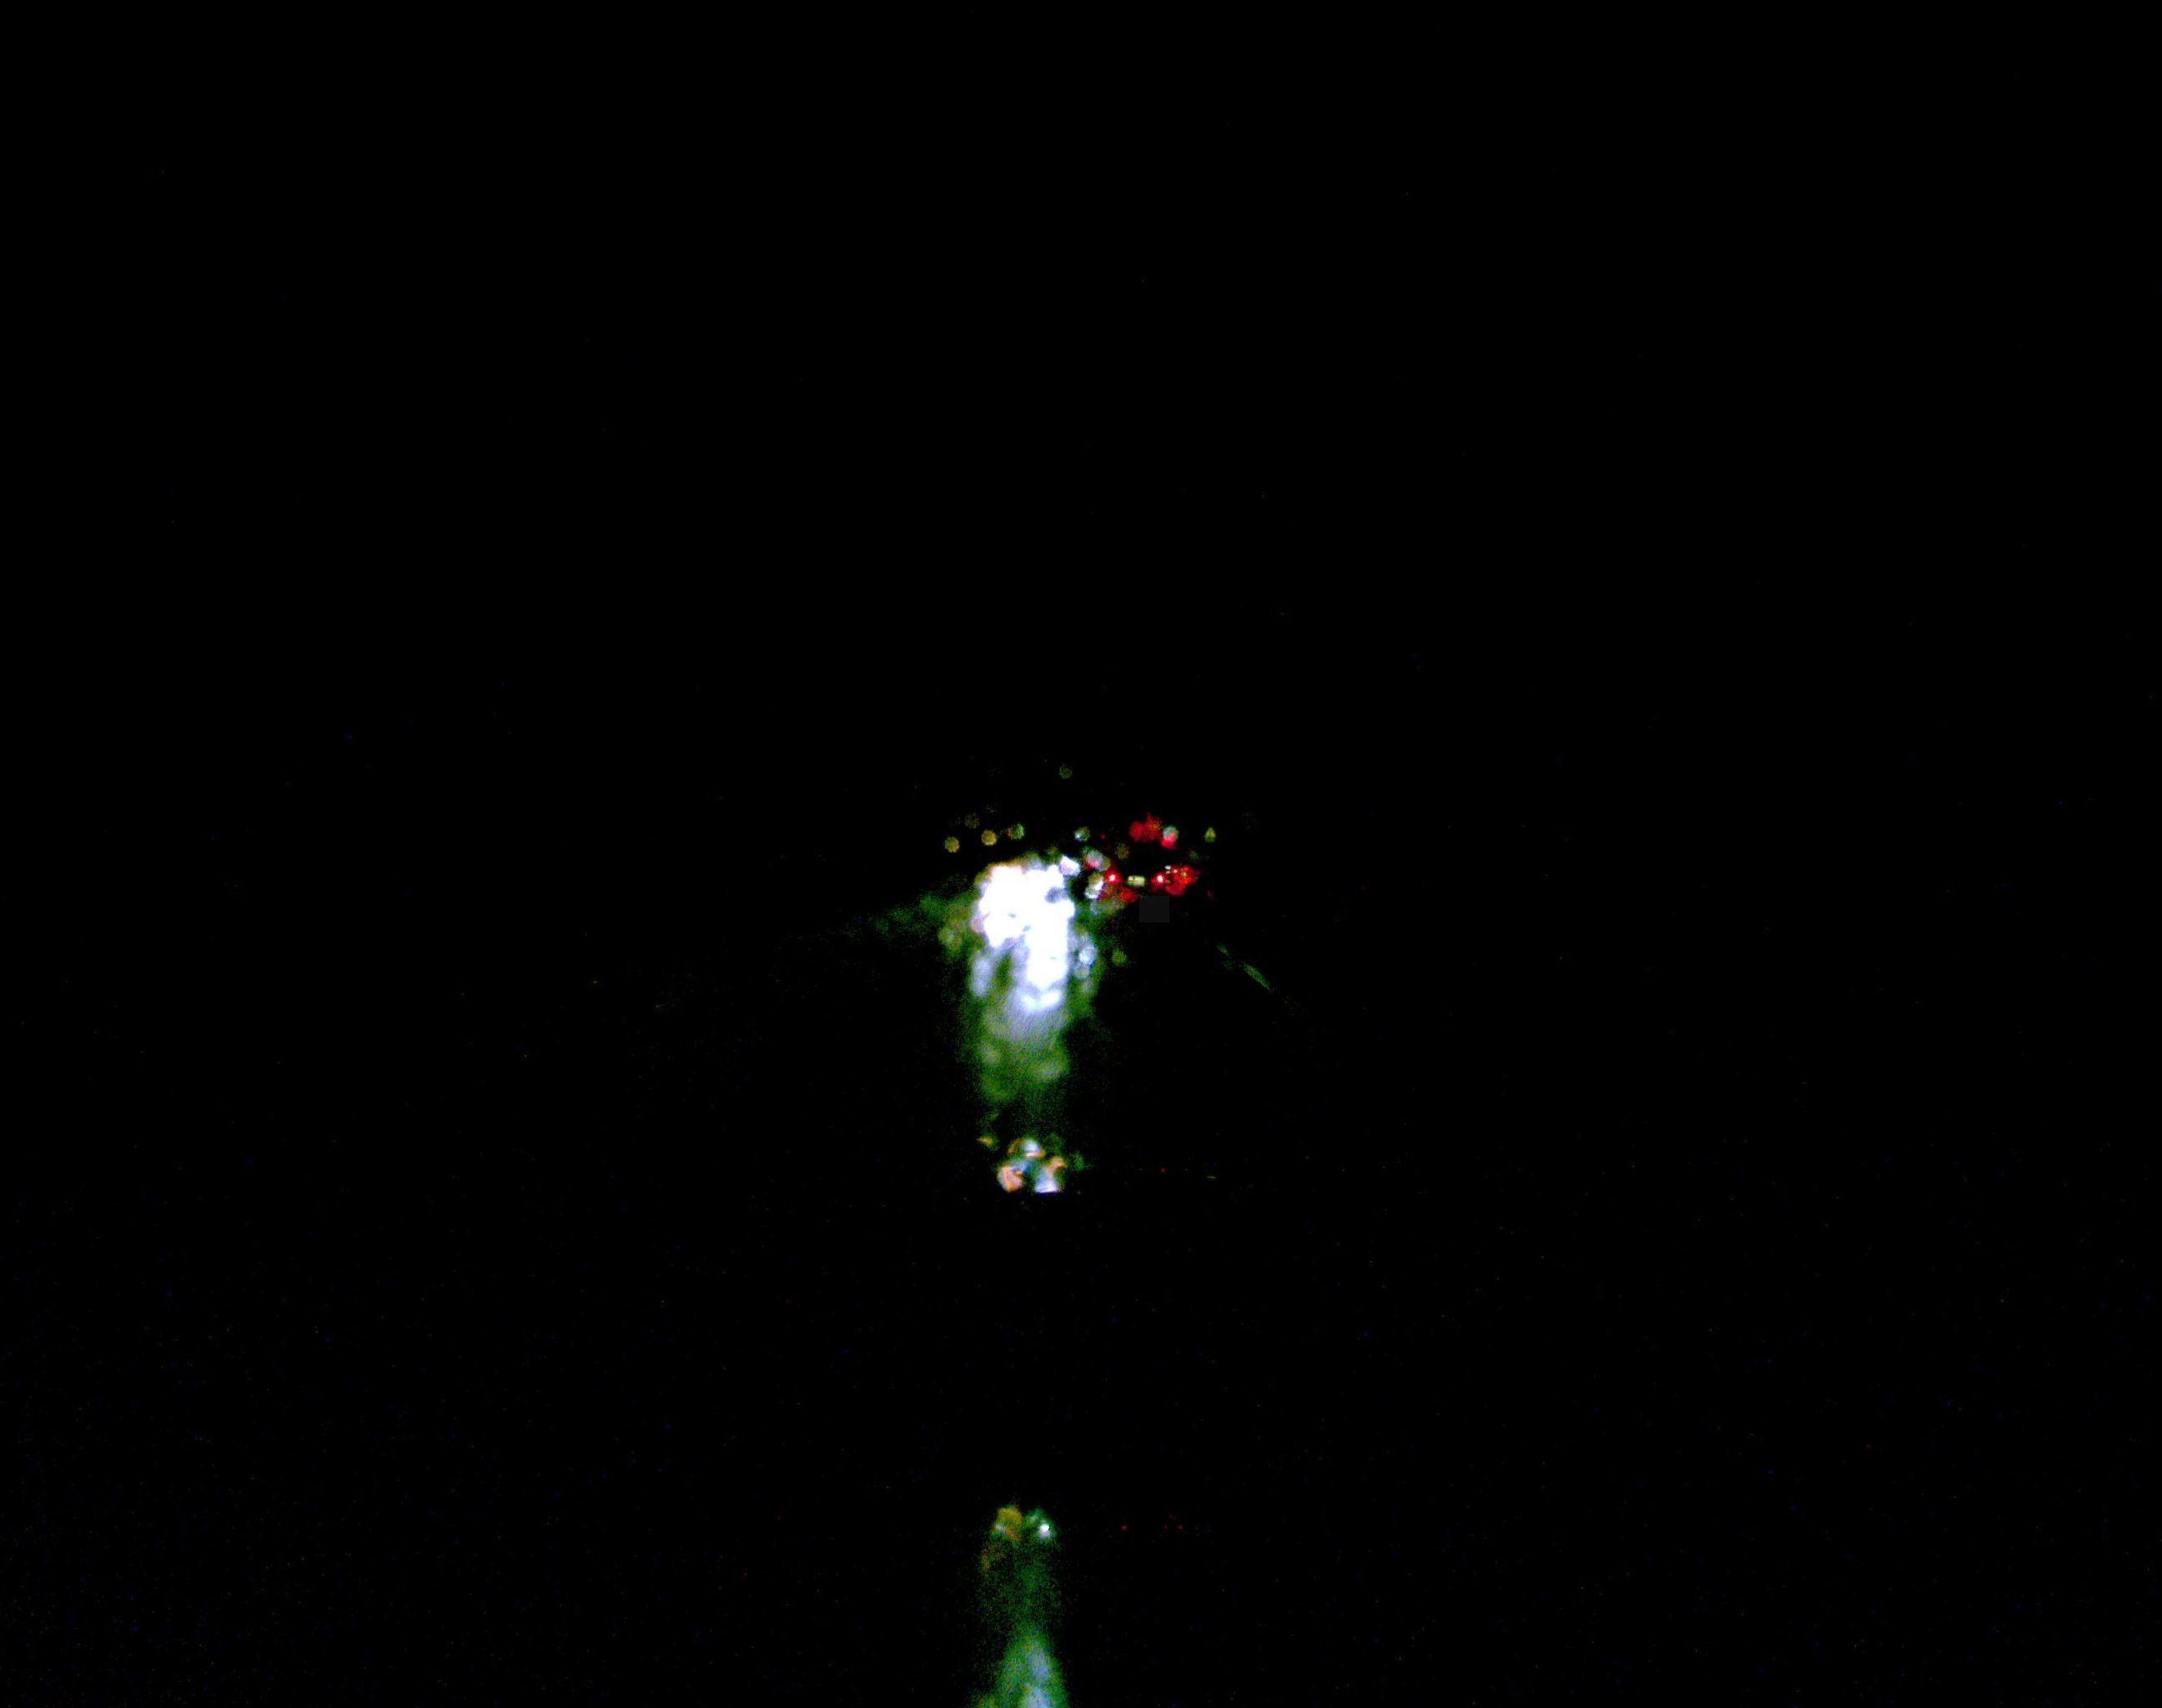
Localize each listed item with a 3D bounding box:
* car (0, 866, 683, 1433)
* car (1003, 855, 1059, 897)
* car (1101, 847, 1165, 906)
[{"bbox_3d":[-3.653,0.807,3.237,1.748,1.405,4.490,0,1,3],"label":"car"},{"bbox_3d":[-1.946,0.842,32.852,1.757,1.542,4.152,-1,0,3],"label":"car"},{"bbox_3d":[1.757,0.743,28.069,1.985,1.807,3.920,-3,-1,3],"label":"car"}]
